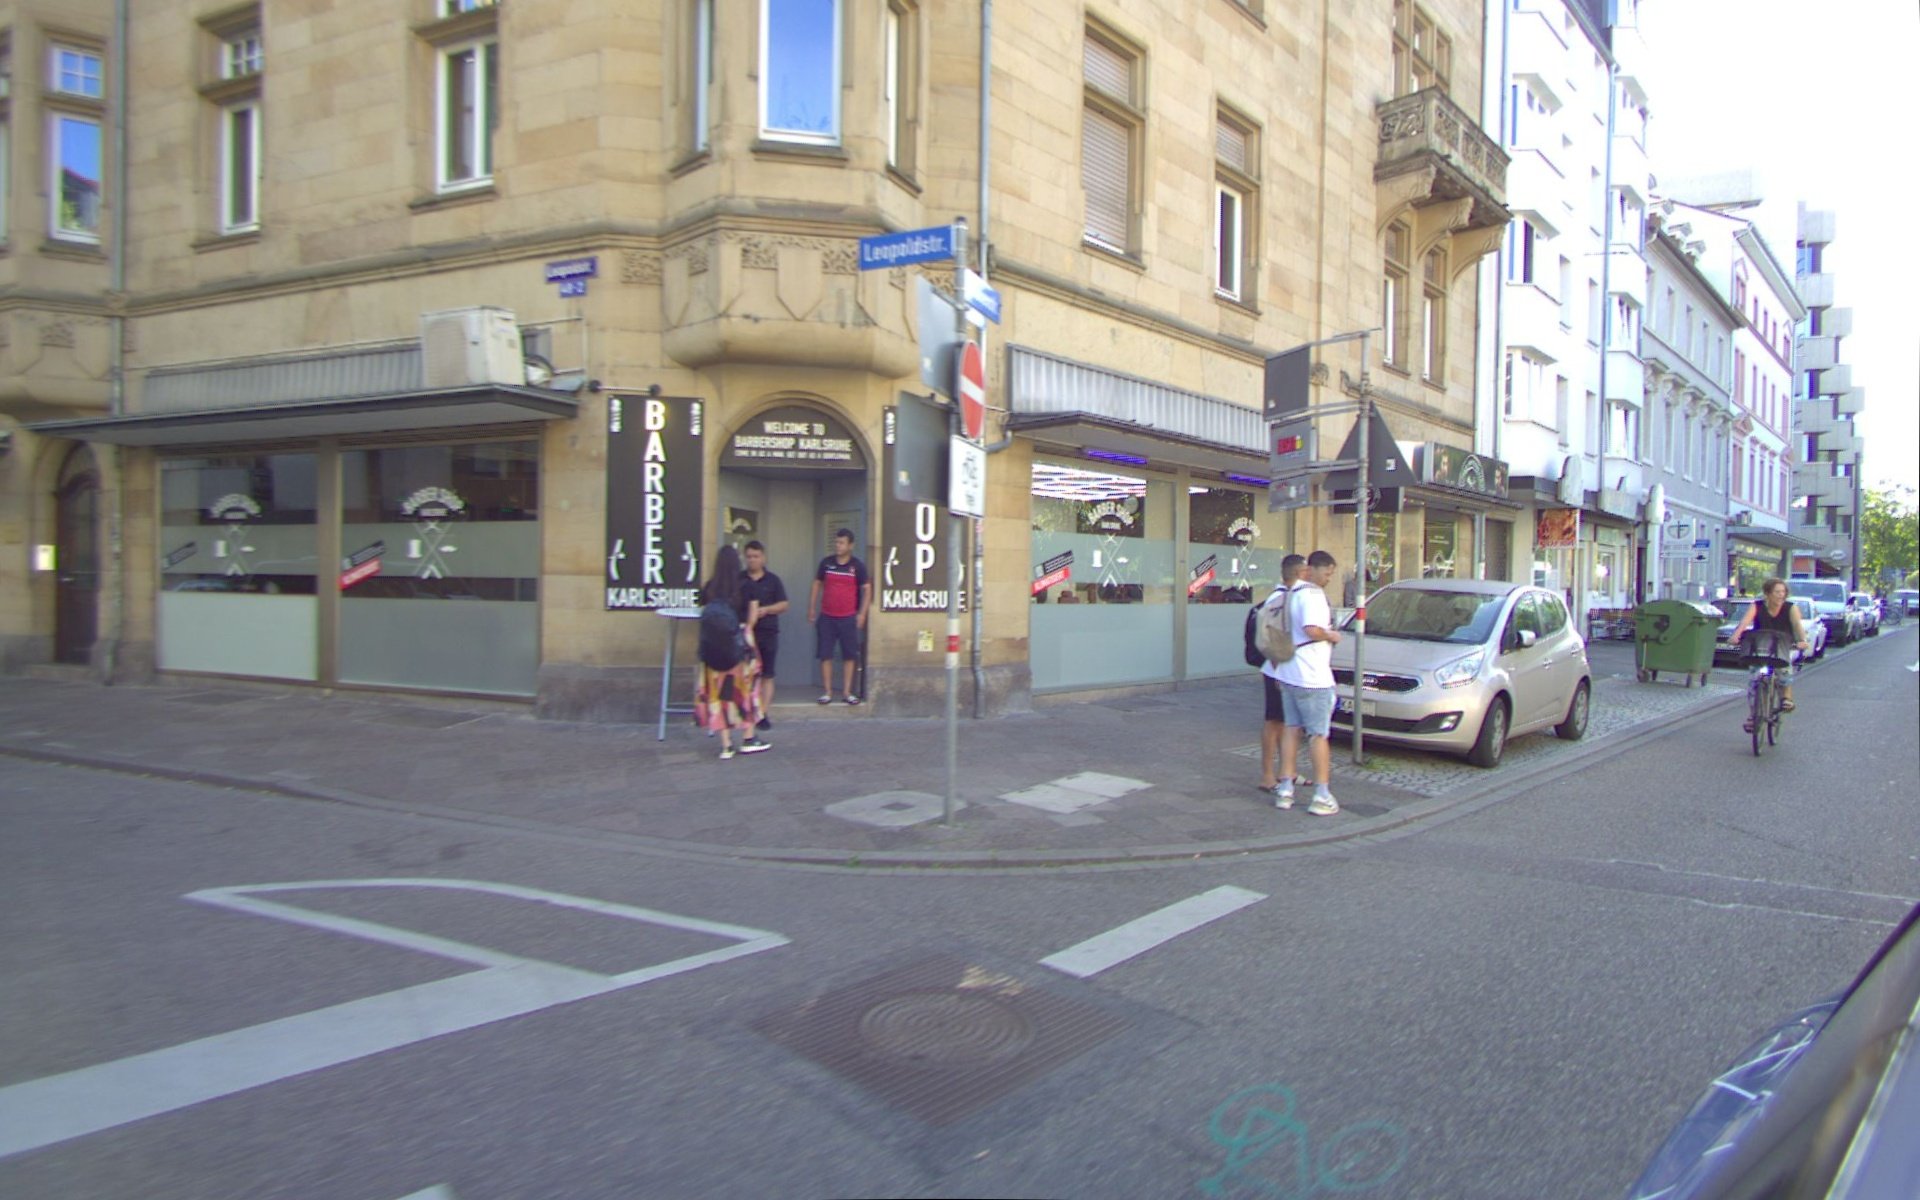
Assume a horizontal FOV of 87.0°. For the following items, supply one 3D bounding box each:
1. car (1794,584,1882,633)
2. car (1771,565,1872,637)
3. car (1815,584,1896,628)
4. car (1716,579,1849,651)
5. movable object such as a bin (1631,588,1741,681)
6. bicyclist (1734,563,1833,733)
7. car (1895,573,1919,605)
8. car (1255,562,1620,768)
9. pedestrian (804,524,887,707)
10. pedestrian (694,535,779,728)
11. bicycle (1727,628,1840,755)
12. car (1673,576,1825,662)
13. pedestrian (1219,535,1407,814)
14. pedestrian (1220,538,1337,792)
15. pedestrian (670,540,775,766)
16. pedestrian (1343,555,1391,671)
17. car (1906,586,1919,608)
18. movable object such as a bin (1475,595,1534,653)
[{"bbox_3d":[30.066,0.230,34.619,1.995,1.470,3.807,4,4,45],"label":"car"},{"bbox_3d":[26.500,-0.035,31.058,1.995,1.977,5.020,4,4,44],"label":"car"},{"bbox_3d":[33.545,0.170,37.883,1.995,1.470,3.892,4,4,45],"label":"car"},{"bbox_3d":[19.988,0.288,24.545,3.934,1.509,1.996,-1,4,-44],"label":"car"},{"bbox_3d":[12.350,0.550,17.214,1.386,1.439,1.148,-1,4,-40],"label":"movable object such as a bin"},{"bbox_3d":[8.133,0.438,9.987,0.894,1.591,0.657,-1,0,-44],"label":"bicyclist"},{"bbox_3d":[63.908,-0.743,67.555,3.934,2.039,1.995,-1,1,-44],"label":"car"},{"bbox_3d":[4.929,0.465,10.202,4.058,1.593,1.976,-1,4,-44],"label":"car"},{"bbox_3d":[-1.114,0.136,9.812,0.701,1.713,0.500,-1,1,-16],"label":"pedestrian"},{"bbox_3d":[-2.070,0.268,9.342,0.701,1.713,0.621,-1,1,-16],"label":"pedestrian"},{"bbox_3d":[8.218,0.858,10.072,1.806,1.081,0.665,-1,1,-44],"label":"bicycle"},{"bbox_3d":[17.015,0.320,21.770,3.934,1.593,1.996,-1,4,-44],"label":"car"},{"bbox_3d":[2.334,0.453,6.753,0.876,1.740,0.697,1,2,-19],"label":"pedestrian"},{"bbox_3d":[2.341,0.430,7.415,0.691,1.740,0.689,3,2,23],"label":"pedestrian"},{"bbox_3d":[-1.858,0.391,7.985,0.662,1.712,0.619,0,2,0],"label":"pedestrian"},{"bbox_3d":[6.390,0.194,15.884,0.534,1.764,0.589,0,0,42],"label":"pedestrian"},{"bbox_3d":[68.967,-0.257,72.098,3.931,1.521,1.996,-1,1,-42],"label":"car"},{"bbox_3d":[10.571,0.461,19.661,0.650,1.061,0.727,2,2,-34],"label":"movable object such as a bin"}]
